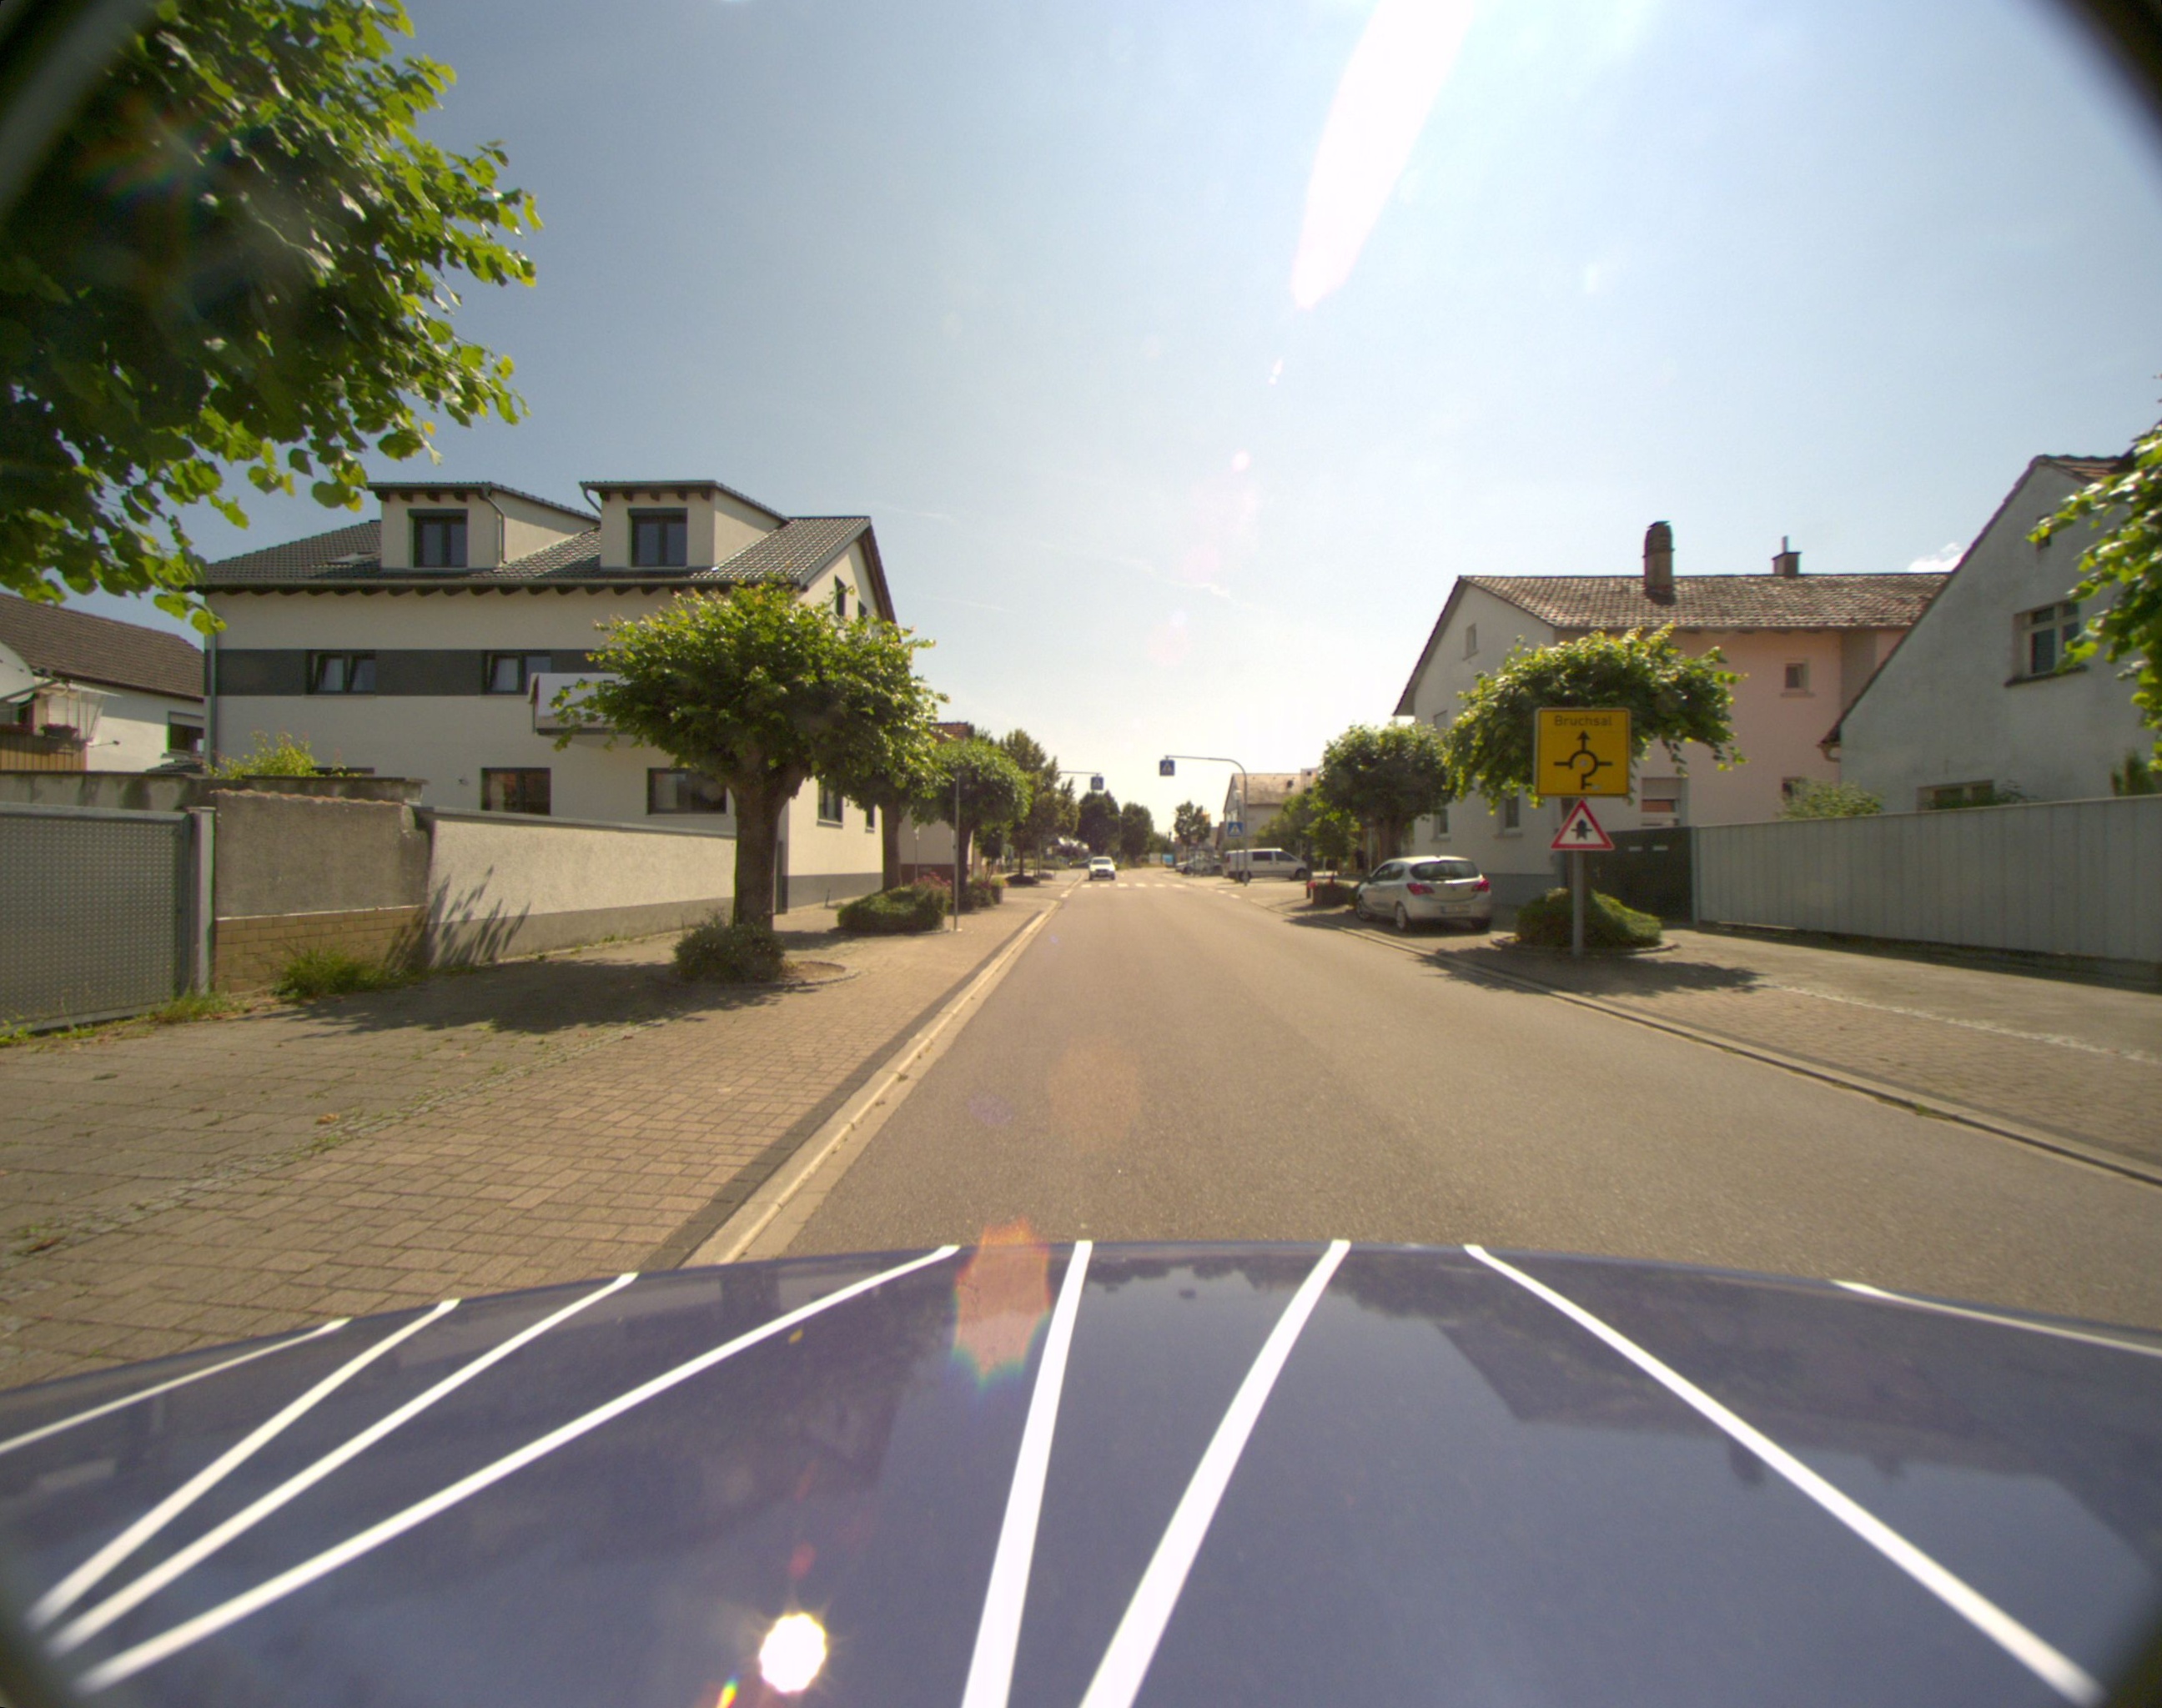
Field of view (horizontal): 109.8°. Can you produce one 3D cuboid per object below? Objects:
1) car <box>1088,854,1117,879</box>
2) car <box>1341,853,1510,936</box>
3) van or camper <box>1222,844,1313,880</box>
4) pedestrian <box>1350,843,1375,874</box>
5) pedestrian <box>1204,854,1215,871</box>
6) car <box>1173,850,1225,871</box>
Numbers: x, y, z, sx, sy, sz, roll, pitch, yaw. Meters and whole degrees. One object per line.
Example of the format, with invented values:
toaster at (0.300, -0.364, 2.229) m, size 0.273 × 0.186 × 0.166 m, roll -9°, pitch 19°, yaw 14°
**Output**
car at (1.531, 0.836, 52.970) m, size 1.857 × 1.603 × 4.136 m, roll -2°, pitch 0°, yaw 3°
car at (7.197, 0.764, 16.371) m, size 1.829 × 1.474 × 4.132 m, roll -2°, pitch 0°, yaw 2°
van or camper at (10.729, 0.461, 44.023) m, size 4.752 × 1.851 × 2.000 m, roll -2°, pitch 0°, yaw 1°
pedestrian at (16.409, 0.237, 44.278) m, size 1.072 × 1.765 × 0.932 m, roll -1°, pitch 1°, yaw -35°
pedestrian at (10.321, 0.669, 60.927) m, size 0.787 × 1.350 × 0.607 m, roll -1°, pitch 1°, yaw 2°
car at (10.630, 0.599, 68.362) m, size 4.251 × 1.709 × 1.945 m, roll -2°, pitch 1°, yaw -4°
